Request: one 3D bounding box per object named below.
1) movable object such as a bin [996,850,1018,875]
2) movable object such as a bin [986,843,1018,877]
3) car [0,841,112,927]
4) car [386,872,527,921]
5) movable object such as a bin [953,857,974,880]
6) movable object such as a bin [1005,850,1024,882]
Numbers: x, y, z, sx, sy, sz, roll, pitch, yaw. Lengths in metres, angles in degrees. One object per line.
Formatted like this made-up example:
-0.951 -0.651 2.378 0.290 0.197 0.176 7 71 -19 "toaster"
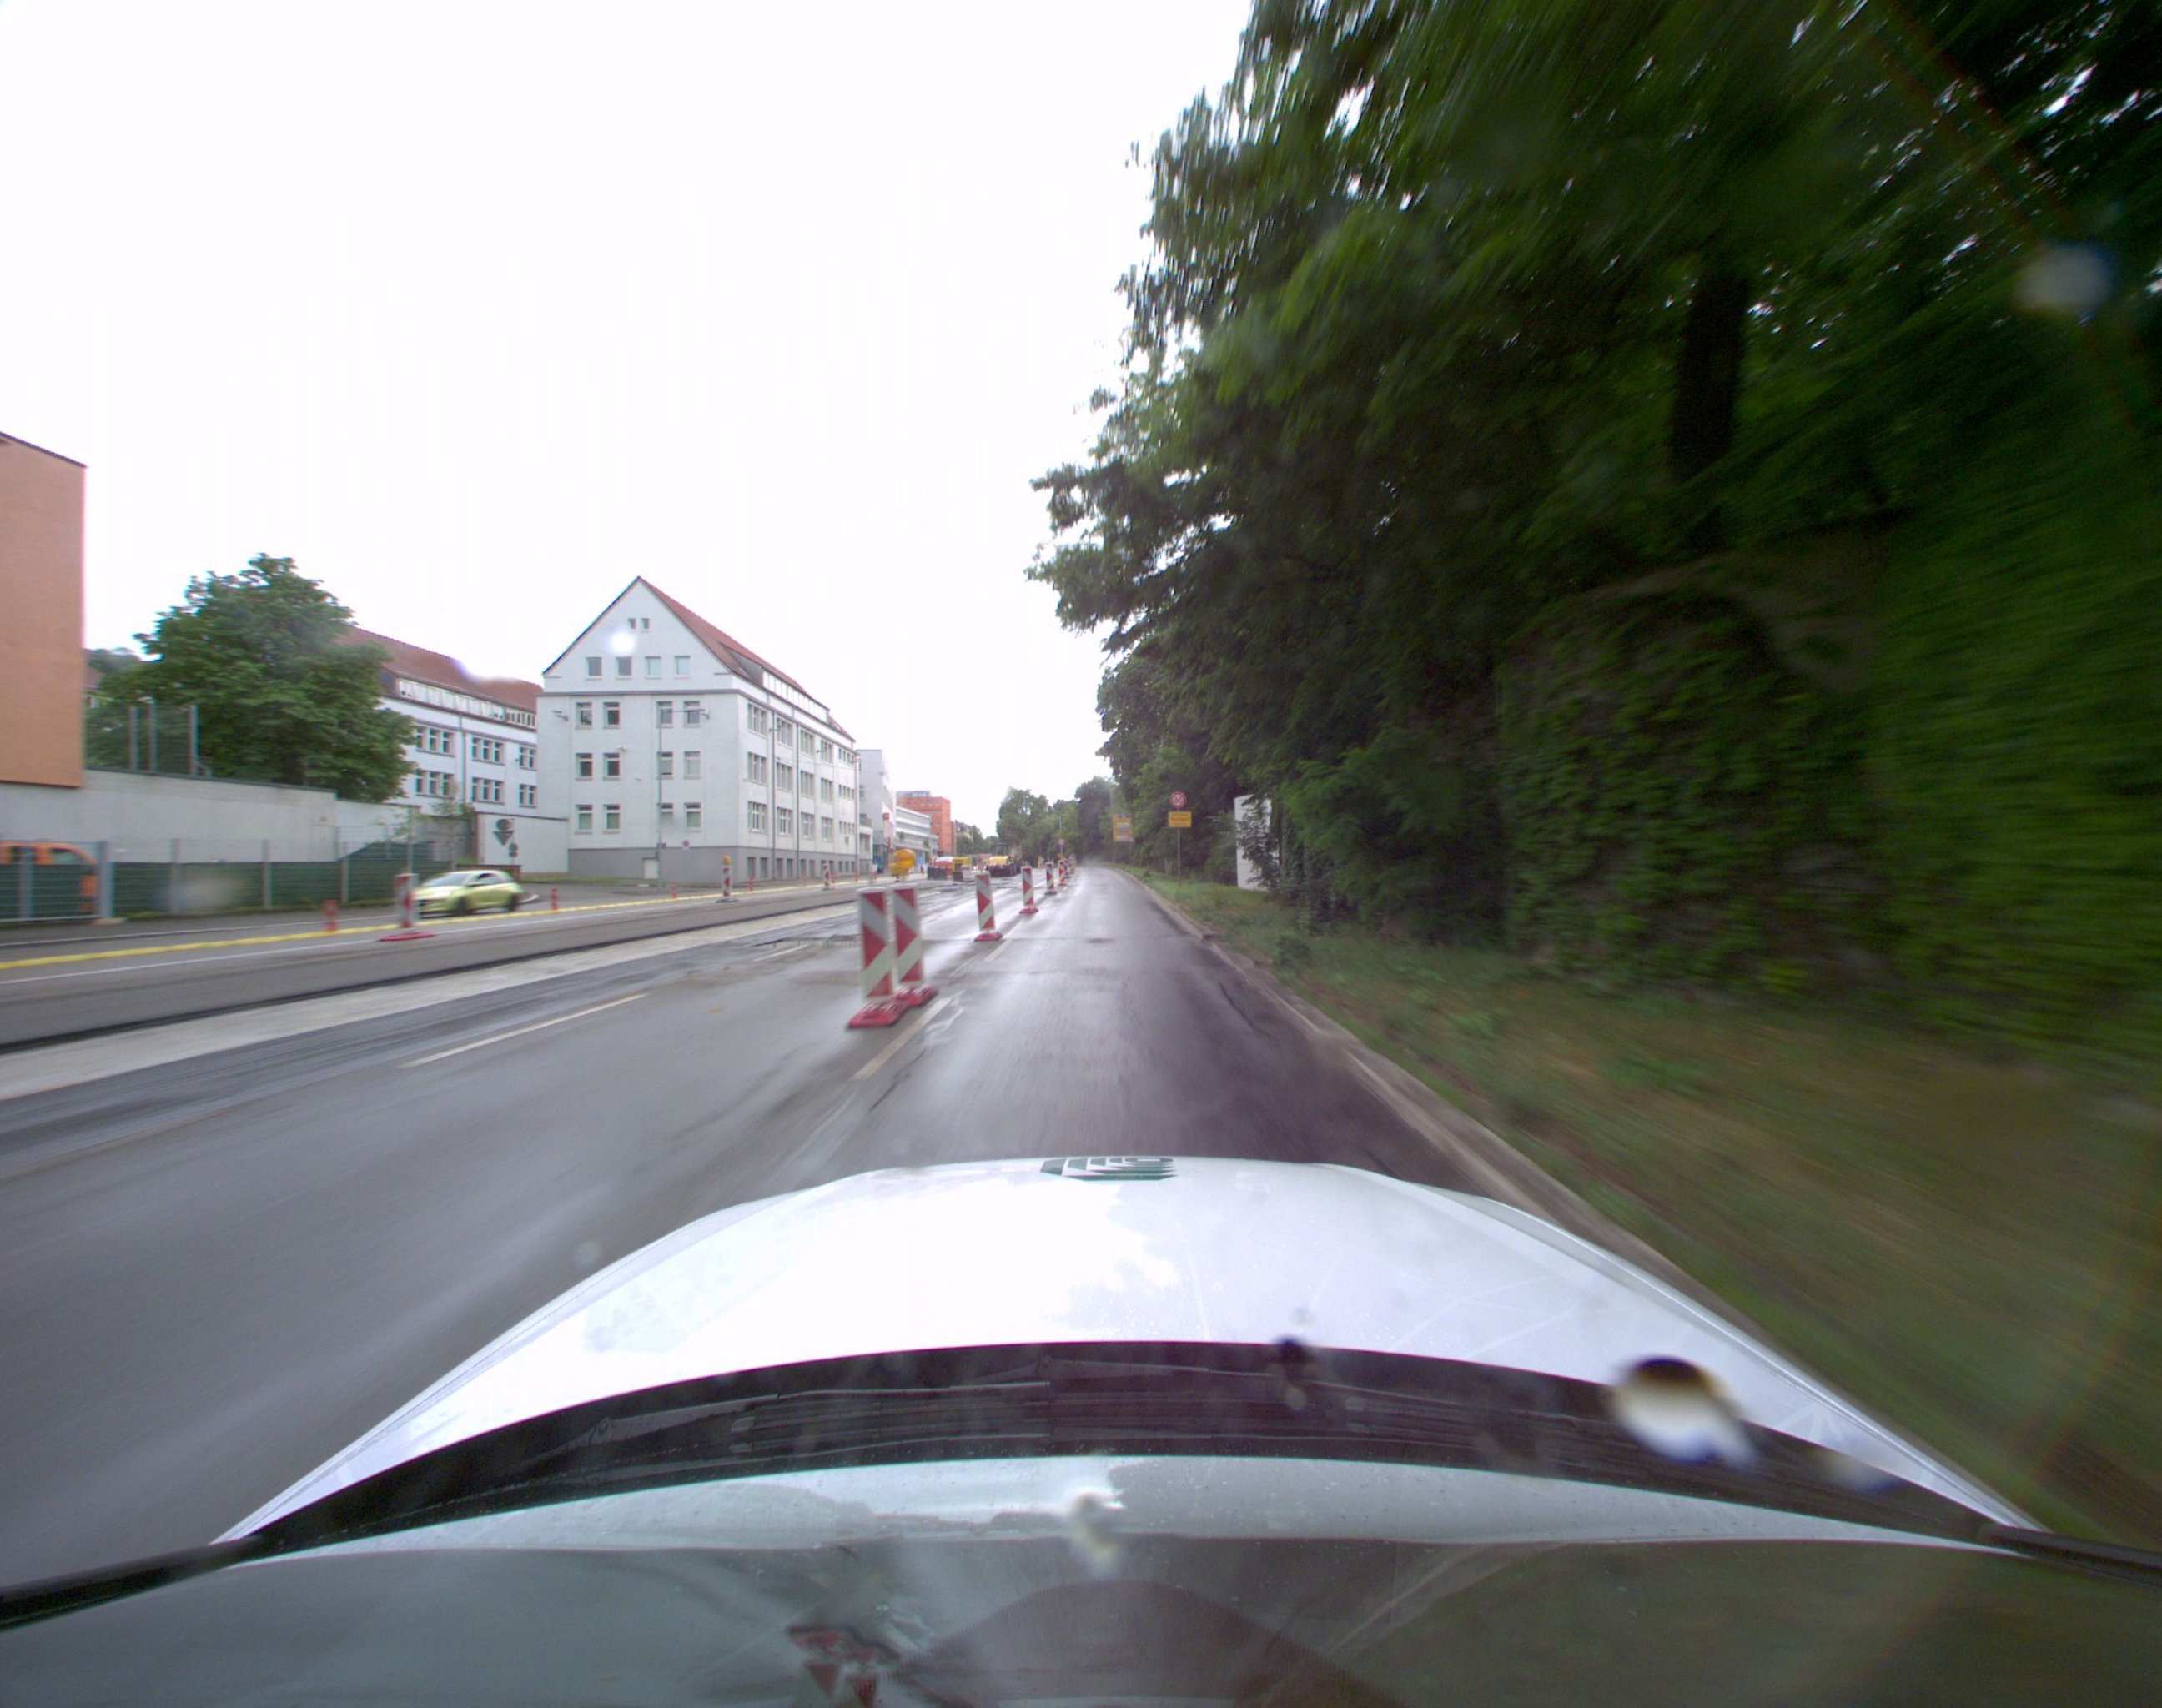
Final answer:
-6.475 0.735 71.681 1.357 2.090 5.031 -2 0 1 "movable object such as a bin"
-6.403 0.475 66.275 1.895 2.609 5.384 -2 0 1 "movable object such as a bin"
-28.250 0.781 21.047 1.604 2.170 4.000 -1 0 1 "car"
-20.254 1.333 26.622 1.548 1.368 3.805 -2 -1 1 "car"
-8.302 1.014 57.821 1.080 1.644 2.439 -1 0 1 "movable object such as a bin"
-6.603 1.165 81.034 1.461 3.008 3.723 -3 0 0 "movable object such as a bin"
